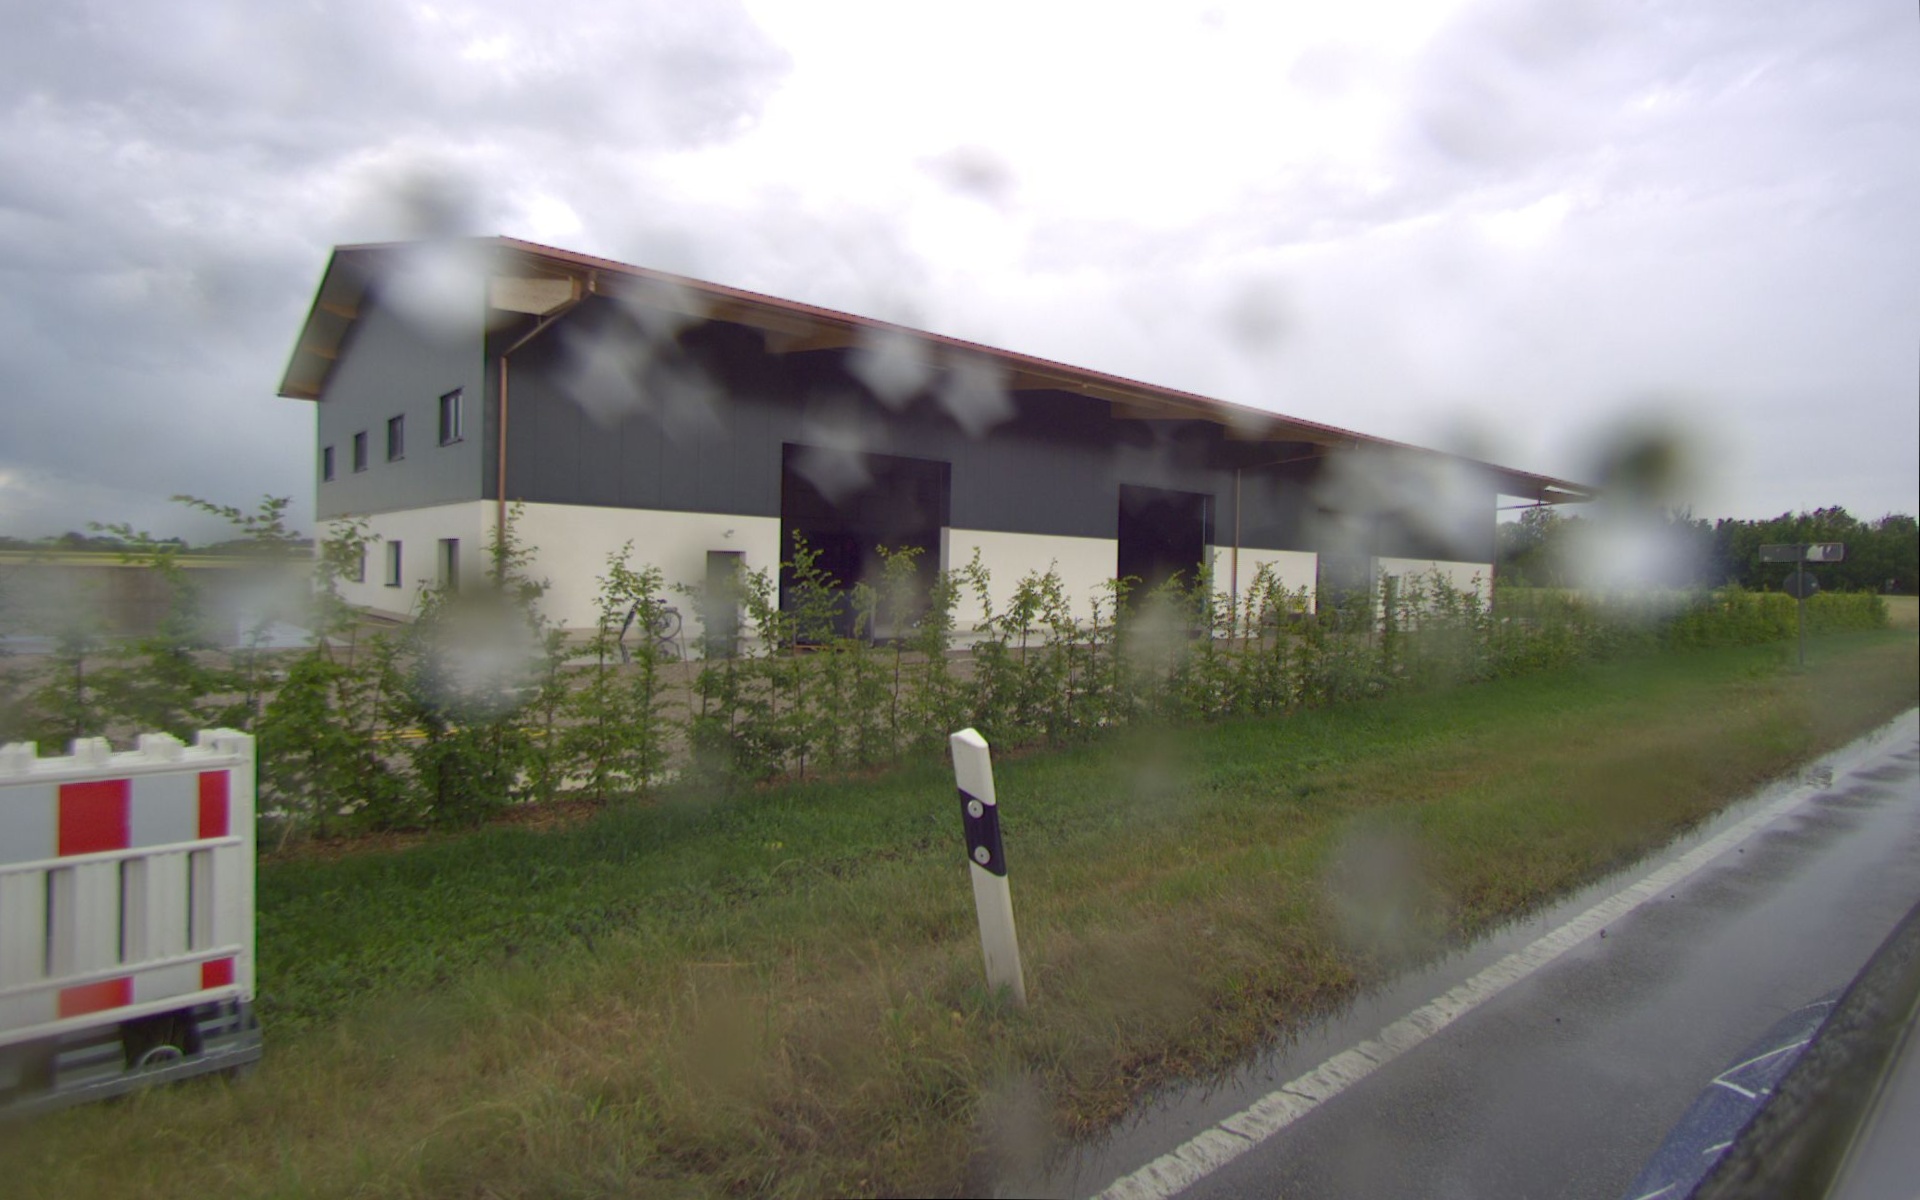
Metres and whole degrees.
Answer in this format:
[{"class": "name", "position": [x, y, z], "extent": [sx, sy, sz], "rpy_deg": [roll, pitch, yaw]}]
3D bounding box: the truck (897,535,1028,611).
[{"class": "truck", "position": [0.153, -1.131, 43.205], "extent": [5.250, 3.050, 2.495], "rpy_deg": [0, 2, -41]}]

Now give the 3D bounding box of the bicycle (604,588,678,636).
[{"class": "bicycle", "position": [-7.462, 0.270, 23.725], "extent": [1.631, 1.085, 0.391], "rpy_deg": [0, 2, -41]}]
